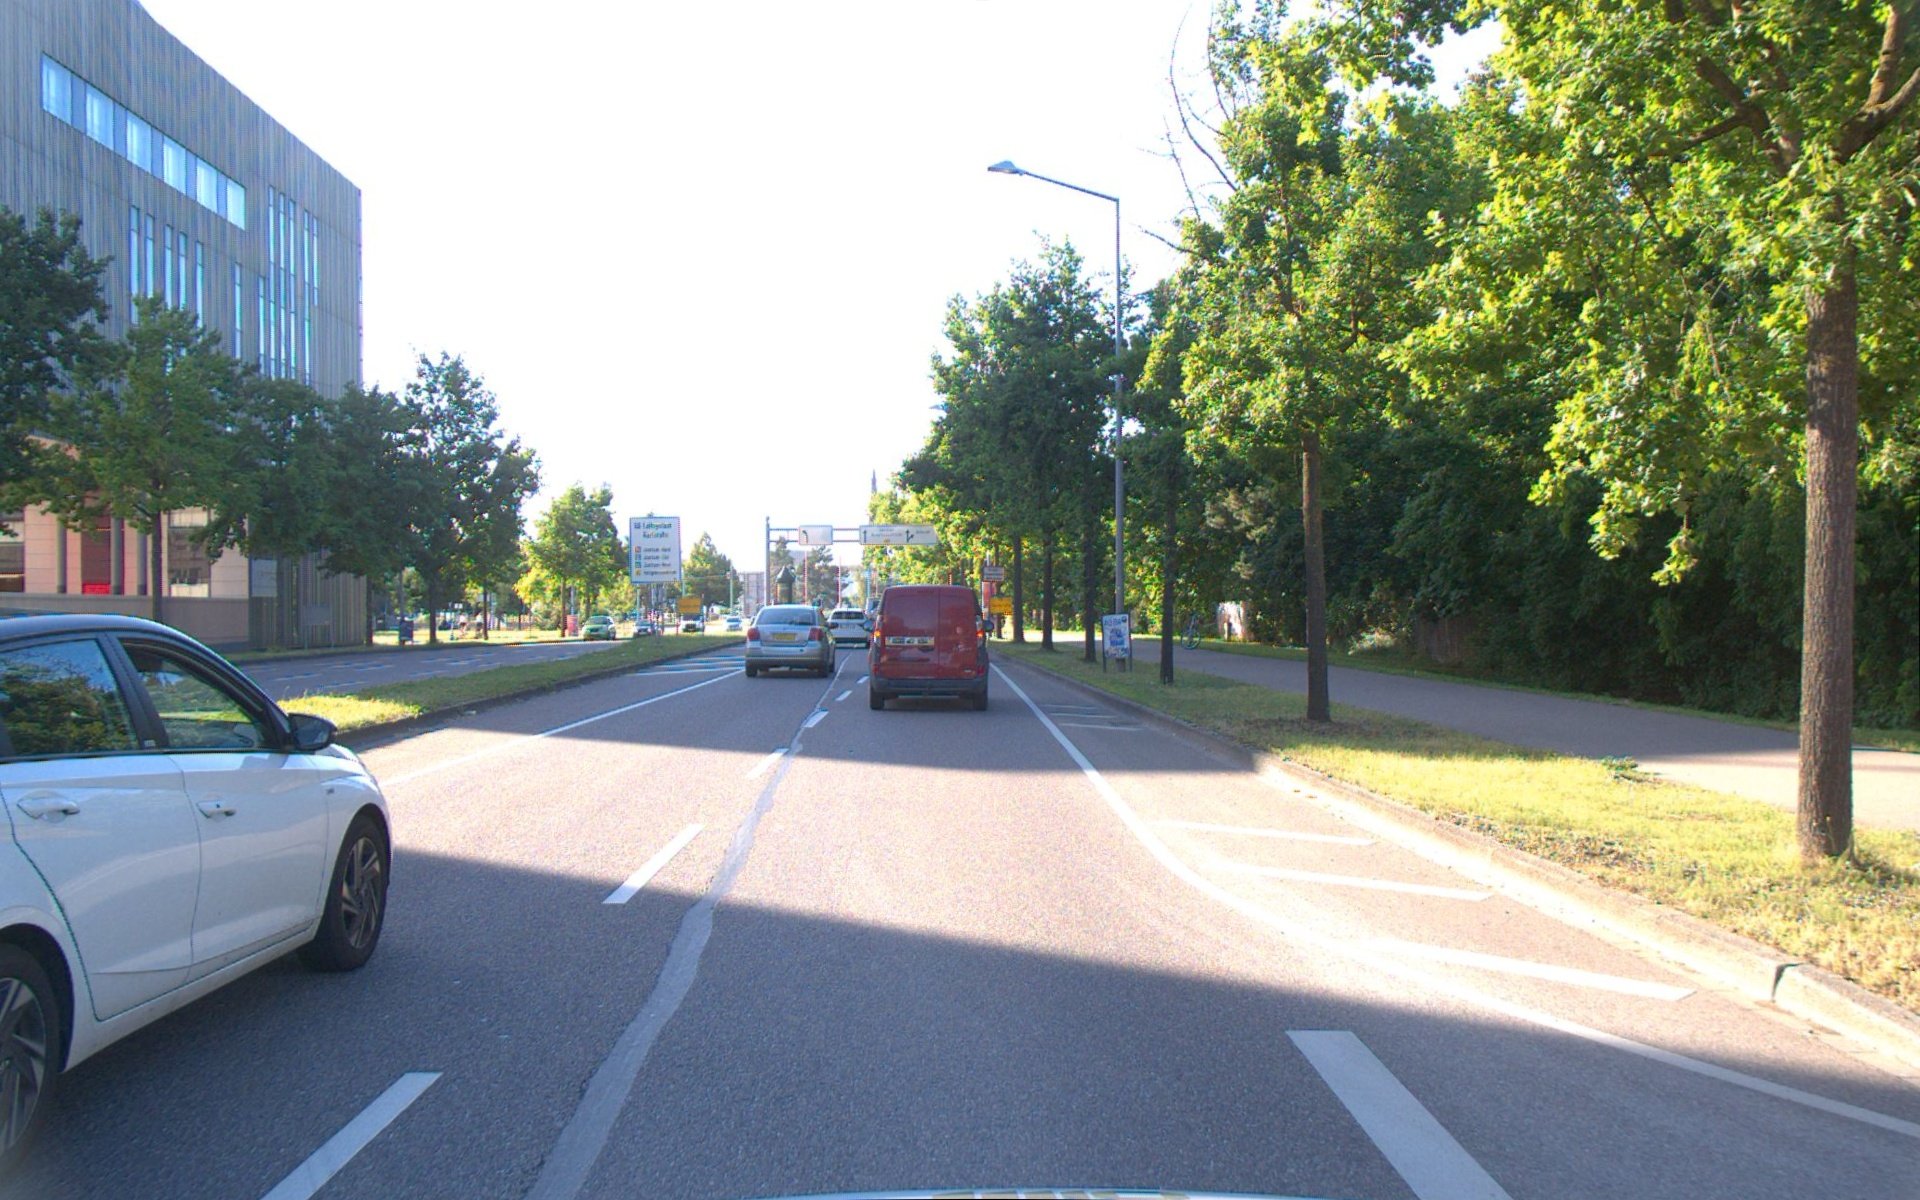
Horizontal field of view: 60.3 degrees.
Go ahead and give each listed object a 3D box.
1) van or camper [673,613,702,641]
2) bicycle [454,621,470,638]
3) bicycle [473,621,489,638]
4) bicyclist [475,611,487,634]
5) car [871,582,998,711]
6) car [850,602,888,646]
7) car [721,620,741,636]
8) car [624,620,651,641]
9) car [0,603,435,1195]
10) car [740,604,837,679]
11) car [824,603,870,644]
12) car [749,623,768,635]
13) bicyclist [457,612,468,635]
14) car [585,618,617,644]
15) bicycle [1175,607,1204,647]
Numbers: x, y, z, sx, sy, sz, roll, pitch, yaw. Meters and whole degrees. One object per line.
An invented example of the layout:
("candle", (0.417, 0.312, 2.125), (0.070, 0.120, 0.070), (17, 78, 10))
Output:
("van or camper", (-25.473, 2.496, 154.970), (1.954, 2.410, 5.989), (-2, 0, -3))
("bicycle", (-31.152, 1.851, 103.482), (0.477, 1.021, 2.094), (-1, -1, -4))
("bicycle", (-29.970, 1.854, 103.502), (0.559, 1.021, 2.094), (-1, -1, -4))
("bicyclist", (-29.980, 1.410, 103.553), (0.551, 1.417, 0.747), (-1, -1, -4))
("car", (-0.458, 0.669, 25.243), (1.770, 1.790, 4.003), (1, 0, -3))
("car", (-4.057, 1.045, 73.811), (1.628, 1.889, 3.556), (-1, 0, -3))
("car", (-22.300, 2.673, 160.901), (1.655, 1.502, 4.045), (-1, 0, -5))
("car", (-24.445, 2.314, 125.278), (1.520, 1.534, 4.023), (-1, 0, -4))
("car", (-3.207, 0.728, 5.346), (1.742, 1.433, 4.074), (0, 0, 0))
("car", (-3.594, 0.847, 35.347), (1.804, 1.482, 4.160), (1, 0, -3))
("car", (-4.116, 0.849, 60.845), (1.628, 1.422, 3.556), (-1, 0, -3))
("car", (-20.630, 2.949, 169.517), (1.792, 1.131, 4.170), (-1, 0, -5))
("bicyclist", (-31.160, 1.448, 103.512), (0.473, 1.419, 0.844), (-1, -1, -4))
("car", (-21.833, 1.874, 100.639), (1.417, 1.461, 3.456), (-1, 0, -4))
("bicycle", (6.726, 0.792, 48.561), (0.757, 1.151, 1.709), (-1, 0, 5))
